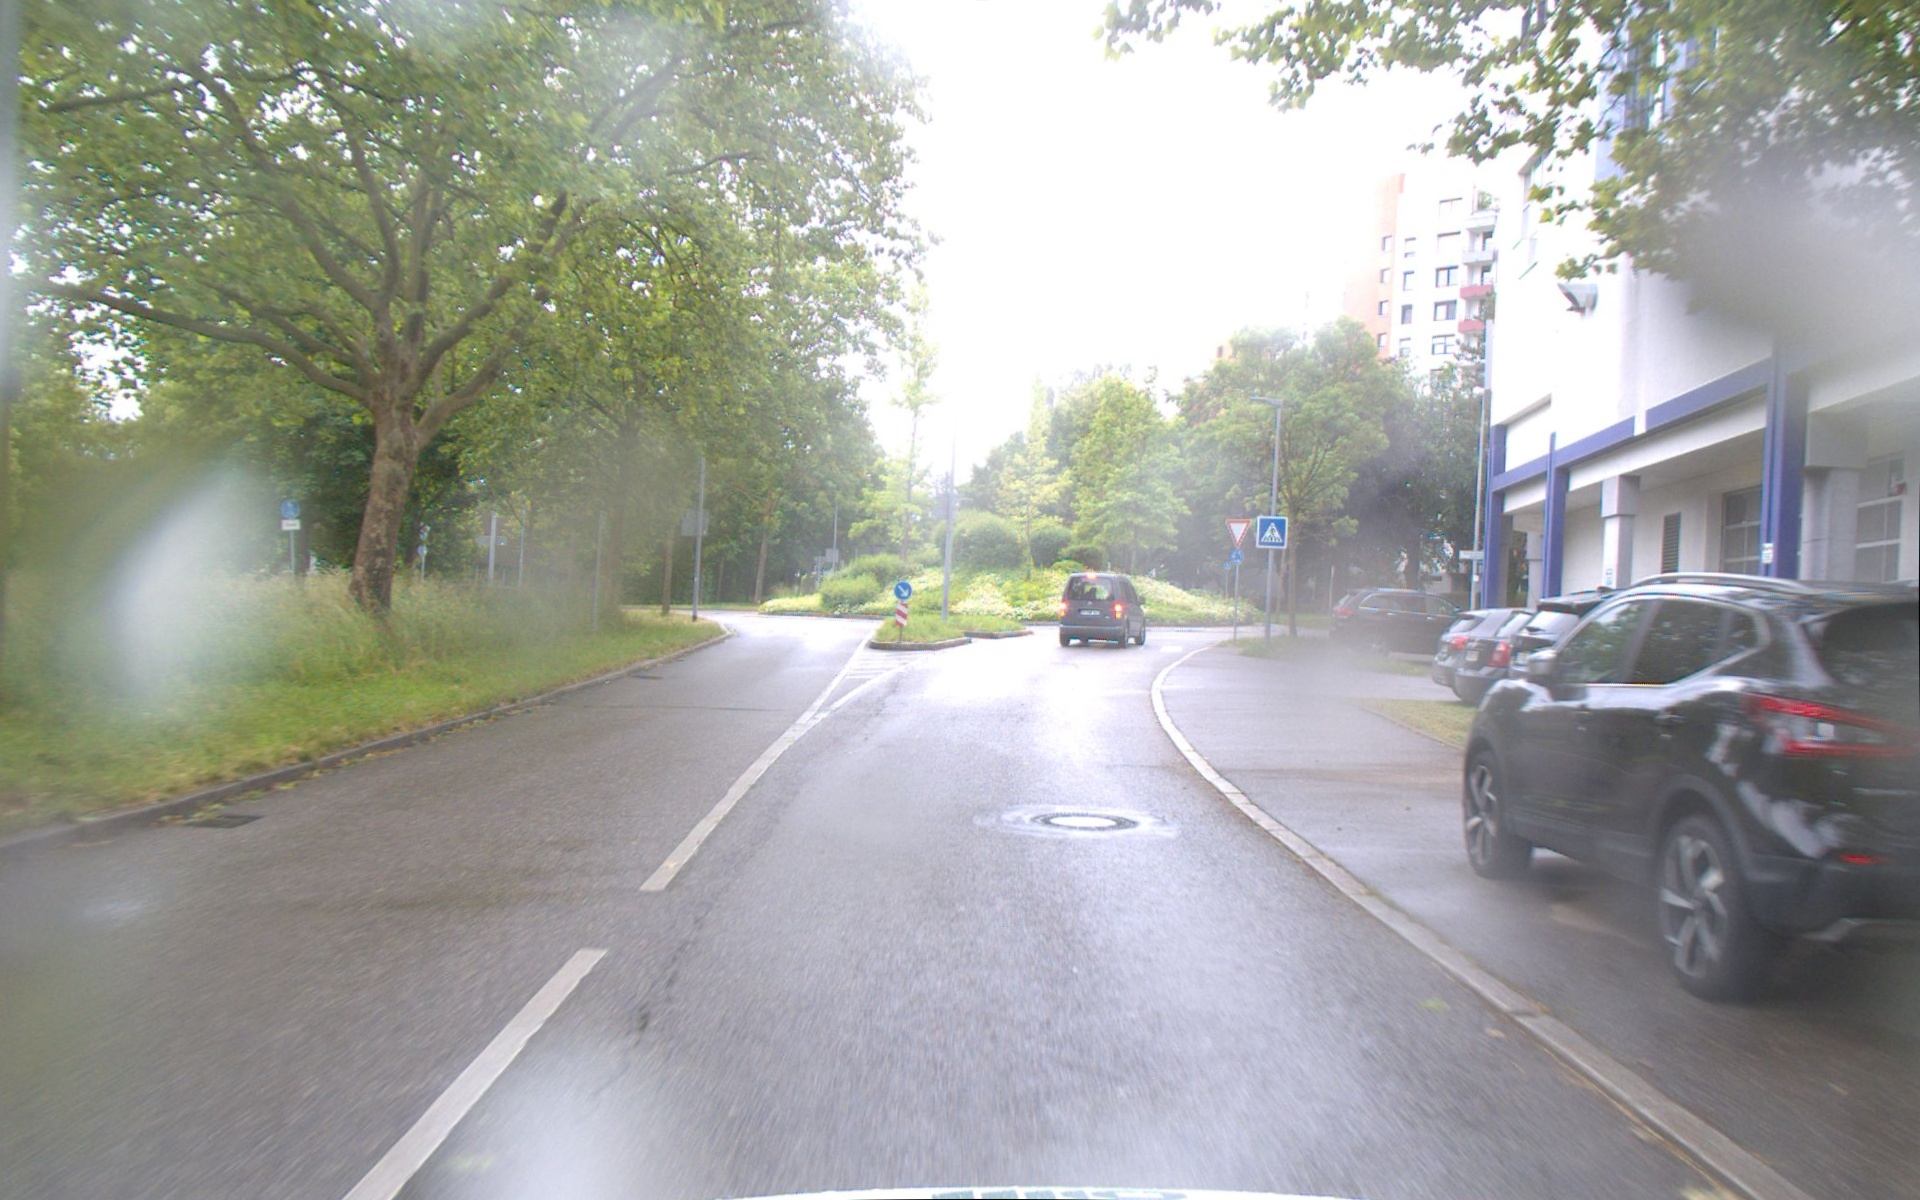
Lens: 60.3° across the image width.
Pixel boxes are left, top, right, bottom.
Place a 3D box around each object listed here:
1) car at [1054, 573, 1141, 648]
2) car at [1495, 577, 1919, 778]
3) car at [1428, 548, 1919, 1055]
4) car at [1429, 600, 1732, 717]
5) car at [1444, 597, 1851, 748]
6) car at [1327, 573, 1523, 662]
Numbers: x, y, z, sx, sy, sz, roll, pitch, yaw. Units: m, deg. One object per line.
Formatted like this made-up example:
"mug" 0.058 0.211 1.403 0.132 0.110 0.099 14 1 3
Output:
"car" 3.598 0.310 42.788 1.877 1.833 3.792 -1 -1 10
"car" 7.804 0.734 16.380 4.378 1.709 1.768 3 1 1
"car" 3.648 0.675 7.537 1.764 1.630 4.371 1 0 0
"car" 9.076 0.840 24.447 3.855 1.478 1.722 3 0 7
"car" 7.958 0.826 19.403 4.022 1.504 1.721 3 -1 1
"car" 11.359 0.410 40.637 4.286 1.789 1.831 4 2 5
